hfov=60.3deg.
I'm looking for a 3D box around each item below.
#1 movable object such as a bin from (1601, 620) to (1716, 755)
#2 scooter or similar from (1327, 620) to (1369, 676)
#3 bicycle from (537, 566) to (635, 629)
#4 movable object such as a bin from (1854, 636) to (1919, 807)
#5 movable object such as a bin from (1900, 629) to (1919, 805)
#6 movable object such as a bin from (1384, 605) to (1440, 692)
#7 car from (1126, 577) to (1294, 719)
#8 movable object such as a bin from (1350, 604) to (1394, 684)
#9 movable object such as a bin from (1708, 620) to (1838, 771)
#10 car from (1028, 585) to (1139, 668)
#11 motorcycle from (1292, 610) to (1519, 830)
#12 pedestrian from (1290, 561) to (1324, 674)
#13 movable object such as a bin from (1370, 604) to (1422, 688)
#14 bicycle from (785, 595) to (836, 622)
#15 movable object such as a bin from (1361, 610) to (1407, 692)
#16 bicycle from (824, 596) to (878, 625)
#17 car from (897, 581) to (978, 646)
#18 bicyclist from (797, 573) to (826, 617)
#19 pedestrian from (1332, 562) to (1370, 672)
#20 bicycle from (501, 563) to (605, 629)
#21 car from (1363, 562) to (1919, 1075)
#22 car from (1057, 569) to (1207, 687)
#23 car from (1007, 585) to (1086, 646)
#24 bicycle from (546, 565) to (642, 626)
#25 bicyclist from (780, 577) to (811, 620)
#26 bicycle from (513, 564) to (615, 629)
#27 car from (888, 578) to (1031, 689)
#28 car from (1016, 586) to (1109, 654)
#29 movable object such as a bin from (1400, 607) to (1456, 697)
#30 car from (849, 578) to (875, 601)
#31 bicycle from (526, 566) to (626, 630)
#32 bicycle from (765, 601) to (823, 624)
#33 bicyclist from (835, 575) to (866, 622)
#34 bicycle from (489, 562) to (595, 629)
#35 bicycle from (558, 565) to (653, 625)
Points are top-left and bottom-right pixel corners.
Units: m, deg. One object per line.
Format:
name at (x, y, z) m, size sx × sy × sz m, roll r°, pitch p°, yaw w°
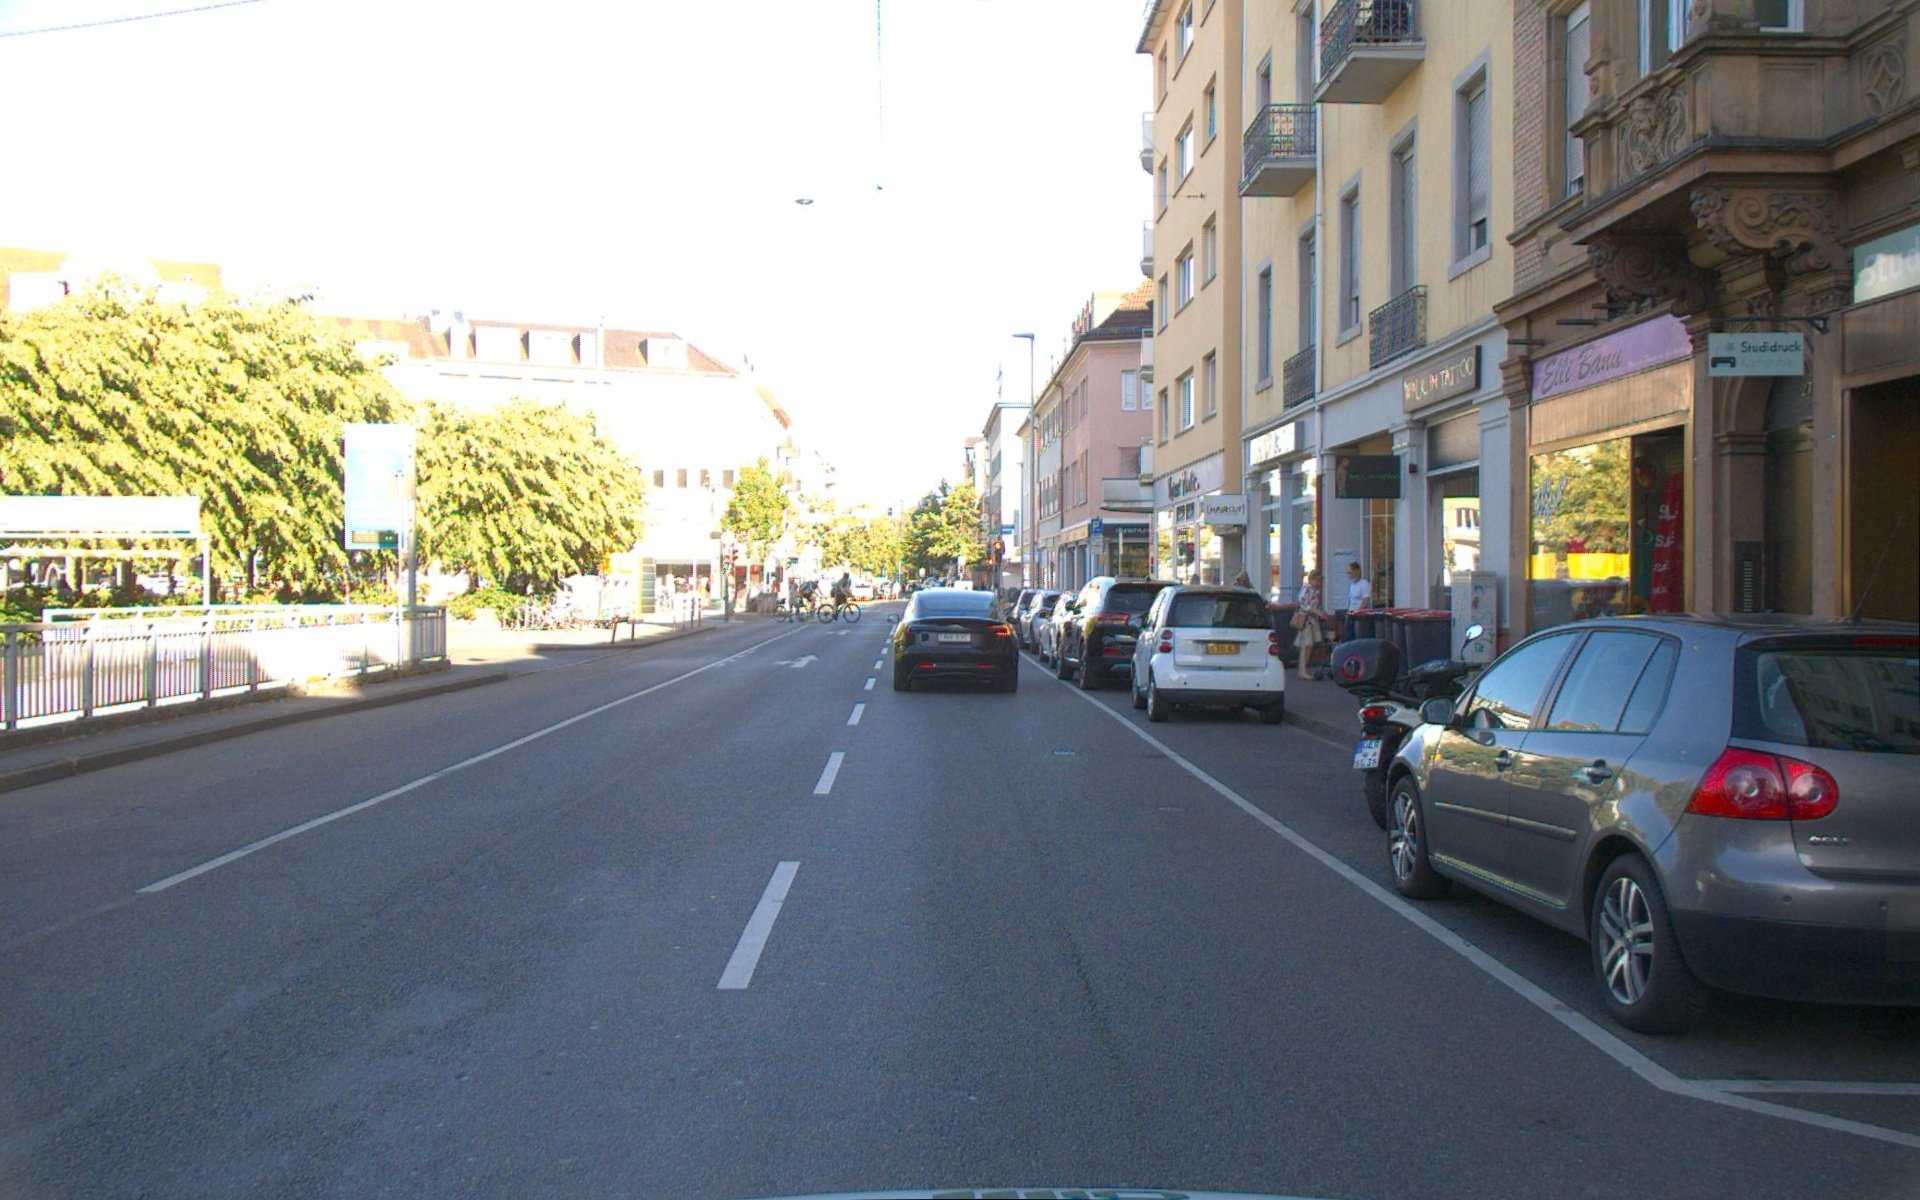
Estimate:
movable object such as a bin at (6.058, 0.745, 14.380) m, size 0.631 × 1.094 × 0.819 m, roll -2°, pitch 0°, yaw -1°
scooter or similar at (5.746, 0.711, 24.490) m, size 0.566 × 0.793 × 0.467 m, roll -2°, pitch 0°, yaw 14°
bicycle at (-12.504, -0.097, 55.280) m, size 3.055 × 2.049 × 0.909 m, roll 0°, pitch 0°, yaw 7°
movable object such as a bin at (6.195, 0.750, 10.482) m, size 0.709 × 1.018 × 0.592 m, roll -2°, pitch 0°, yaw -2°
movable object such as a bin at (6.145, 0.703, 9.882) m, size 0.666 × 1.061 × 0.626 m, roll -2°, pitch 0°, yaw -2°
movable object such as a bin at (5.760, 0.610, 21.092) m, size 0.485 × 1.070 × 0.631 m, roll -2°, pitch 0°, yaw -3°
car at (2.979, 0.523, 20.184) m, size 1.580 × 1.573 × 2.855 m, roll 1°, pitch 1°, yaw 0°
movable object such as a bin at (5.685, 0.601, 22.828) m, size 0.446 × 1.070 × 0.499 m, roll -2°, pitch 0°, yaw -3°
movable object such as a bin at (6.116, 0.705, 12.470) m, size 0.631 × 1.070 × 0.631 m, roll -2°, pitch 0°, yaw -3°
car at (2.356, 0.503, 32.488) m, size 1.756 × 1.485 × 4.083 m, roll 1°, pitch -1°, yaw -1°
motorcycle at (3.086, 0.757, 11.310) m, size 0.645 × 1.351 × 2.031 m, roll 0°, pitch 0°, yaw 42°
pedestrian at (5.213, 0.256, 24.837) m, size 0.460 × 1.664 × 0.514 m, roll 0°, pitch 0°, yaw 14°
movable object such as a bin at (5.735, 0.600, 21.760) m, size 0.469 × 1.070 × 0.631 m, roll -2°, pitch 0°, yaw -3°
bicycle at (-5.811, 0.327, 64.235) m, size 1.972 × 1.040 × 0.761 m, roll 0°, pitch 0°, yaw -5°
movable object such as a bin at (5.721, 0.679, 22.321) m, size 0.469 × 1.070 × 0.467 m, roll -2°, pitch 0°, yaw -3°
bicycle at (-4.036, 0.390, 61.349) m, size 1.972 × 1.040 × 0.887 m, roll 0°, pitch 0°, yaw -5°
car at (-0.514, 0.291, 41.142) m, size 1.895 × 1.513 × 4.271 m, roll 0°, pitch 1°, yaw 0°
bicyclist at (-5.753, -0.190, 64.233) m, size 1.124 × 1.715 × 0.818 m, roll 0°, pitch 0°, yaw -5°
pedestrian at (5.975, 0.250, 25.289) m, size 0.460 × 1.664 × 0.513 m, roll 0°, pitch 0°, yaw 3°
bicycle at (-12.829, -0.131, 52.150) m, size 3.055 × 2.049 × 0.909 m, roll 0°, pitch 0°, yaw 7°
car at (3.260, 0.655, 7.231) m, size 1.802 × 1.573 × 4.227 m, roll 1°, pitch 1°, yaw -2°
car at (2.616, 0.425, 26.003) m, size 1.682 × 1.664 × 4.081 m, roll 1°, pitch -1°, yaw -3°
car at (2.210, 0.413, 43.236) m, size 1.756 × 1.485 × 3.867 m, roll 1°, pitch -1°, yaw -1°
bicycle at (-12.451, -0.167, 56.325) m, size 3.055 × 2.049 × 0.909 m, roll 0°, pitch 0°, yaw 7°
bicyclist at (-6.623, -0.049, 66.767) m, size 1.122 × 1.715 × 0.915 m, roll 0°, pitch 0°, yaw 2°
bicycle at (-12.716, -0.106, 53.145) m, size 3.055 × 2.049 × 0.909 m, roll 0°, pitch 0°, yaw 7°
car at (-0.103, 0.484, 25.182) m, size 1.955 × 1.506 × 4.492 m, roll 1°, pitch -1°, yaw -3°
car at (2.353, 0.454, 38.941) m, size 1.756 × 1.485 × 3.866 m, roll 1°, pitch -1°, yaw -3°
movable object such as a bin at (5.784, 0.639, 20.453) m, size 0.469 × 1.070 × 0.631 m, roll -2°, pitch 0°, yaw -3°
car at (-8.315, -0.908, 140.819) m, size 1.953 × 1.802 × 4.000 m, roll 1°, pitch 1°, yaw 0°
bicycle at (-12.576, -0.080, 54.195) m, size 3.055 × 2.049 × 0.909 m, roll 0°, pitch 0°, yaw 7°
bicycle at (-6.687, 0.487, 66.767) m, size 2.197 × 0.898 × 0.924 m, roll 0°, pitch 0°, yaw 2°
bicyclist at (-4.060, -0.062, 61.344) m, size 1.124 × 1.715 × 0.918 m, roll 0°, pitch 0°, yaw -5°
bicycle at (-12.918, -0.140, 51.190) m, size 3.055 × 2.049 × 0.909 m, roll 0°, pitch 0°, yaw 7°
bicycle at (-12.289, -0.184, 57.367) m, size 3.055 × 2.049 × 0.909 m, roll 0°, pitch 0°, yaw 7°
